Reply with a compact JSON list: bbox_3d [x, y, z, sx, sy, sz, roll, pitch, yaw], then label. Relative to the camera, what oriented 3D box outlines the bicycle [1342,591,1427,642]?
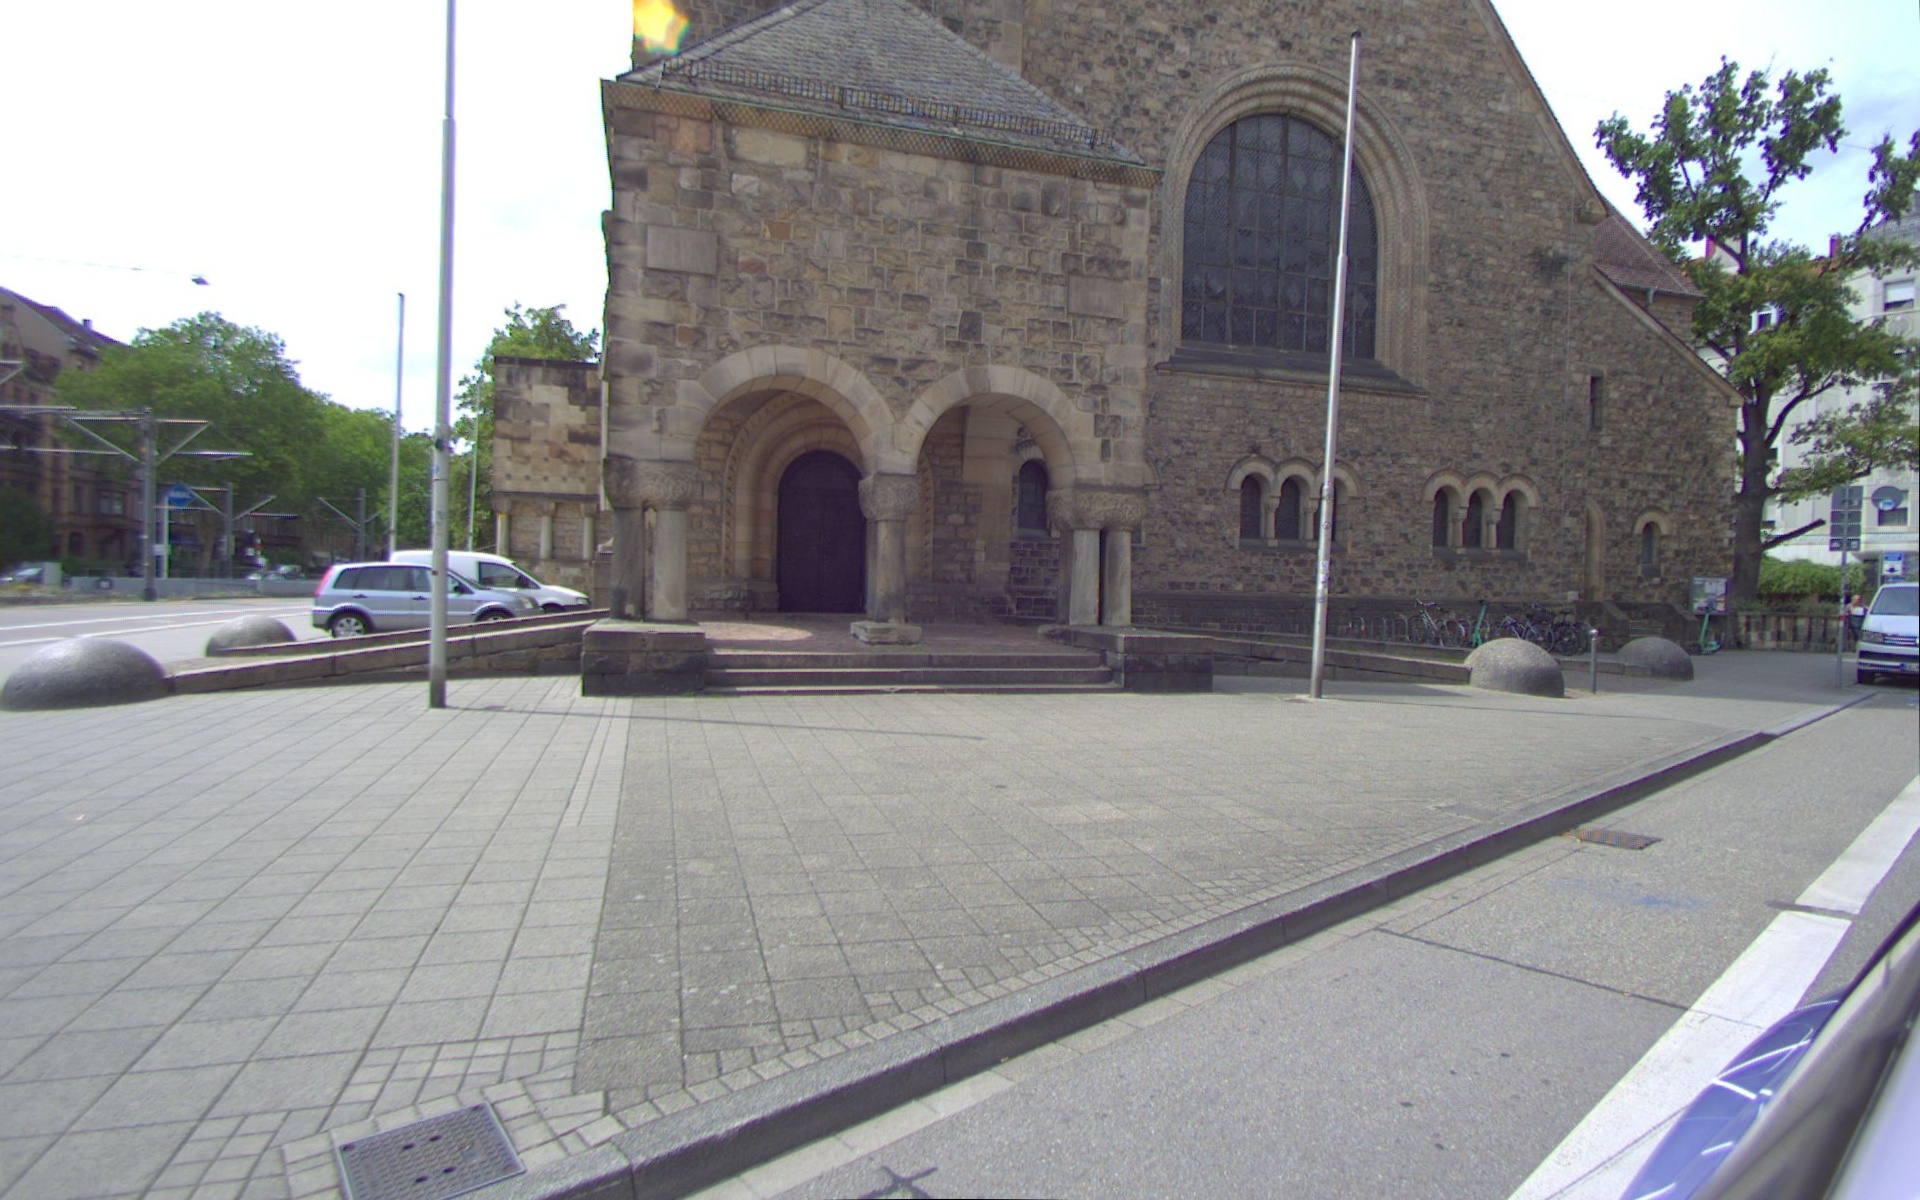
[{"bbox_3d":[9.099,0.334,21.757,0.534,0.969,1.787,1,3,-22],"label":"bicycle"}]

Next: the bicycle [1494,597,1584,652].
[{"bbox_3d":[13.001,0.533,22.786,0.534,1.125,1.786,1,1,-22],"label":"bicycle"}]

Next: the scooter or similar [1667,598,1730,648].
[{"bbox_3d":[18.655,0.585,25.573,1.450,1.222,0.547,1,1,-21],"label":"scooter or similar"}]

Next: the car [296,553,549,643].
[{"bbox_3d":[-10.129,-0.037,19.436,3.942,1.562,2.024,1,1,-16],"label":"car"}]

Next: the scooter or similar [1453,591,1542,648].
[{"bbox_3d":[11.885,0.408,22.426,0.534,1.154,1.786,1,1,-22],"label":"scooter or similar"}]

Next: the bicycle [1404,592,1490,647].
[{"bbox_3d":[10.641,0.407,22.175,0.534,1.125,1.786,1,1,-22],"label":"bicycle"}]

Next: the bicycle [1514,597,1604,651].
[{"bbox_3d":[13.570,0.525,22.990,0.534,1.125,1.779,1,1,-22],"label":"bicycle"}]

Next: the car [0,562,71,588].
[{"bbox_3d":[-53.649,-1.444,58.488,1.722,1.417,4.008,0,1,-12],"label":"car"}]

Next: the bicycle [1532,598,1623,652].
[{"bbox_3d":[14.155,0.550,23.241,0.534,1.125,1.786,1,1,-22],"label":"bicycle"}]

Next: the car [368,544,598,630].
[{"bbox_3d":[-10.414,-0.275,22.446,4.328,1.747,1.956,1,1,-16],"label":"car"}]

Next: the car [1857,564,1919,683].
[{"bbox_3d":[18.824,0.419,19.283,5.036,2.054,2.018,0,3,-43],"label":"car"}]

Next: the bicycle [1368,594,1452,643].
[{"bbox_3d":[9.731,0.384,21.954,0.534,0.969,1.786,1,1,-22],"label":"bicycle"}]

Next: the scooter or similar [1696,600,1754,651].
[{"bbox_3d":[18.833,0.623,24.912,1.413,1.222,0.547,1,1,-28],"label":"scooter or similar"}]
